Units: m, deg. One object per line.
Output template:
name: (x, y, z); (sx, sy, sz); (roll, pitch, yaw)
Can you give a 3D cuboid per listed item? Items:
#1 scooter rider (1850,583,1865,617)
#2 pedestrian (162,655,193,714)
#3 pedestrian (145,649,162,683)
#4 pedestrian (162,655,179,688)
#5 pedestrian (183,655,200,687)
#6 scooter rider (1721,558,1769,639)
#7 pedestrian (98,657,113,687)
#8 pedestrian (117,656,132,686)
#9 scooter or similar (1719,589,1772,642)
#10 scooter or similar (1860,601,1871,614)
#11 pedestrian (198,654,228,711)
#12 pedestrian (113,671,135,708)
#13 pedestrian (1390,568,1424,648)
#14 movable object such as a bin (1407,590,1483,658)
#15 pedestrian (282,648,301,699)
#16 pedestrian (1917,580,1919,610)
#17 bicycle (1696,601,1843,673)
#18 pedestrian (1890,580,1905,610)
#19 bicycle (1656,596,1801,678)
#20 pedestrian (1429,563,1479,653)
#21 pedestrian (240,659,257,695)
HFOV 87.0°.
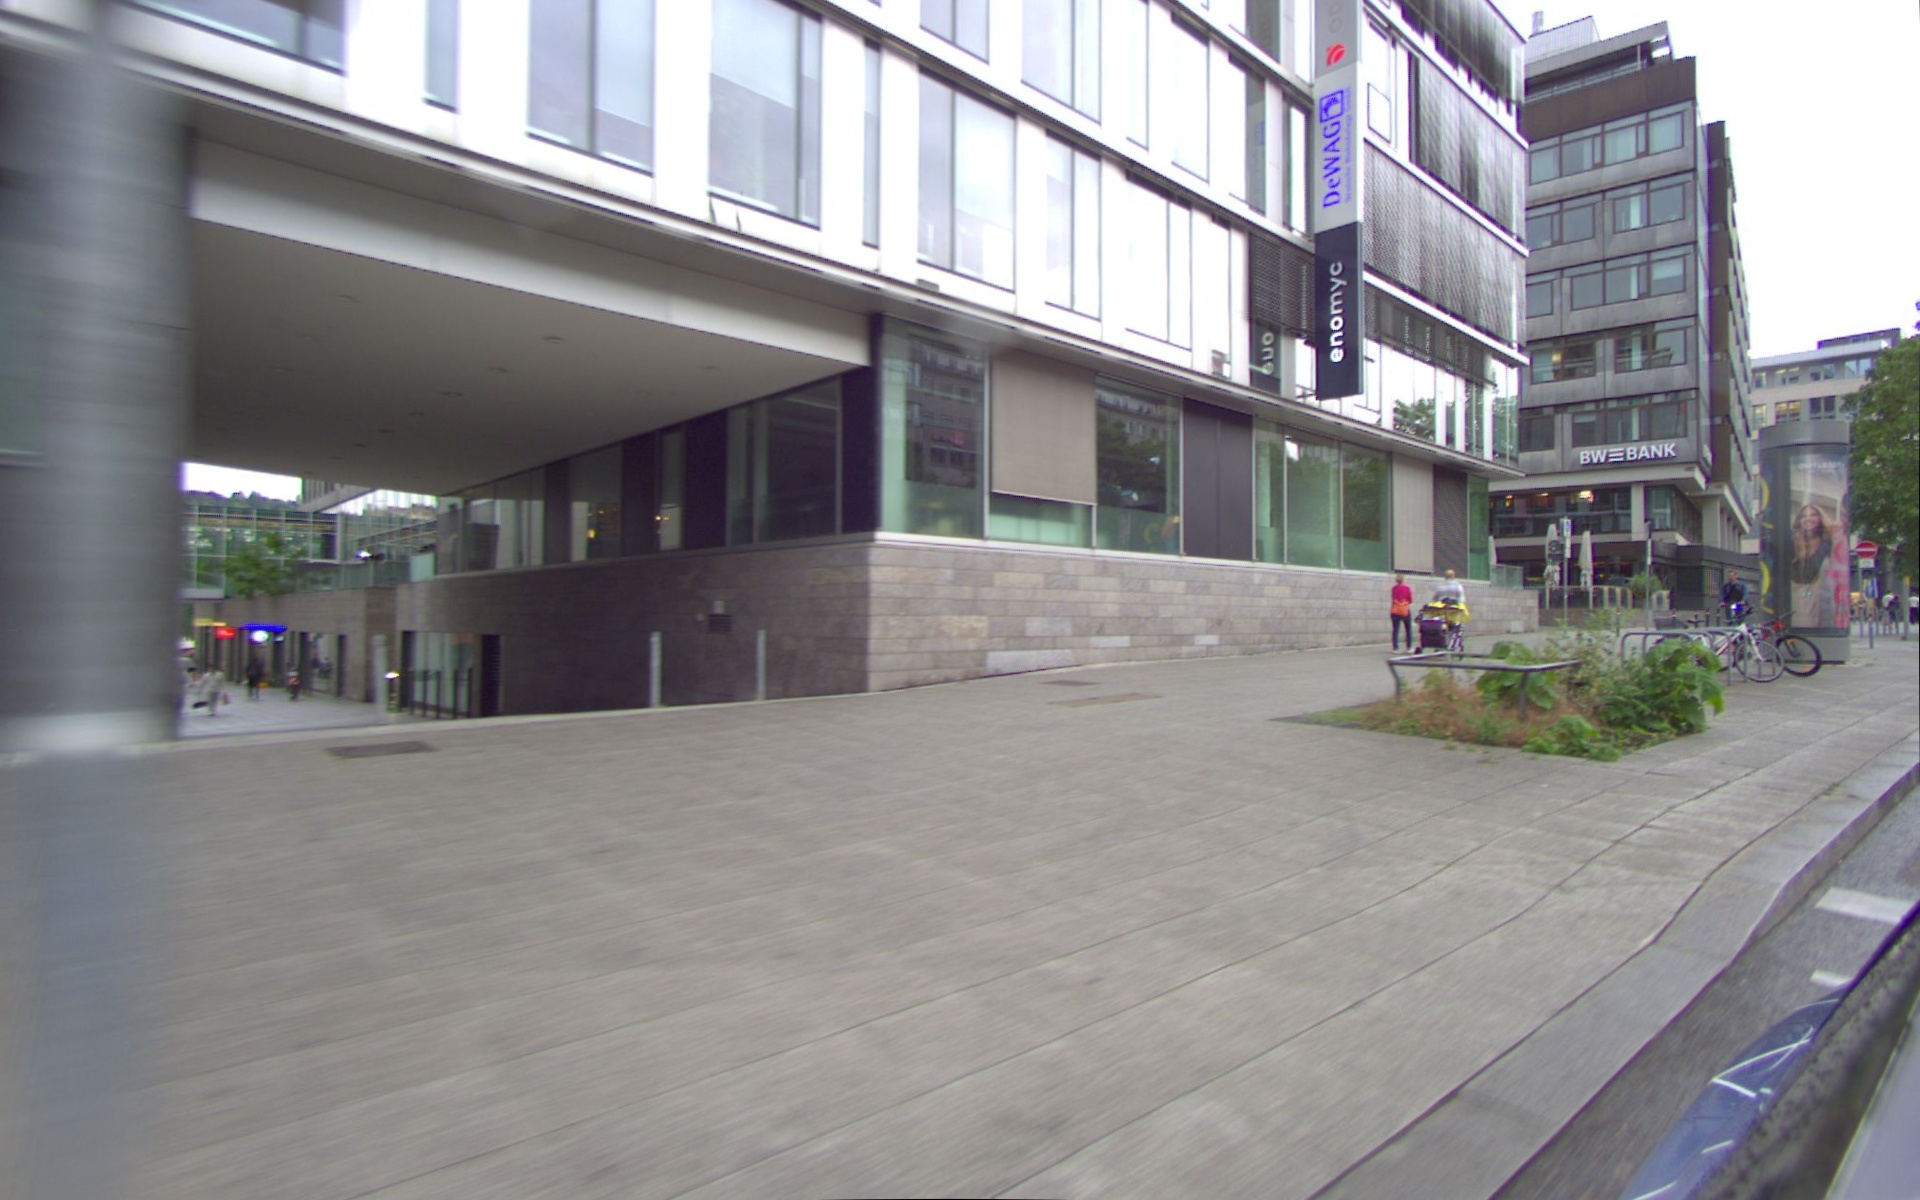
scooter rider: (54.621, 0.022, 61.574); (0.840, 2.051, 0.626); (0, 0, -44)
pedestrian: (-24.922, 2.677, 32.235); (0.590, 1.799, 0.690); (-4, -3, 44)
pedestrian: (-45.591, 3.727, 57.237); (0.590, 1.848, 0.690); (-4, -3, 44)
pedestrian: (-45.023, 4.063, 57.744); (0.590, 1.848, 0.690); (-4, -3, 44)
pedestrian: (-44.402, 4.089, 58.461); (0.590, 1.799, 0.690); (-4, -3, 44)
scooter rider: (20.183, -0.042, 26.015); (0.907, 2.046, 0.780); (0, 0, -38)
pedestrian: (-52.902, 4.457, 62.652); (0.590, 1.799, 0.690); (-4, -3, 44)
pedestrian: (-52.247, 4.442, 63.300); (0.590, 1.799, 0.690); (-4, -3, 44)
scooter or similar: (20.185, 0.379, 26.008); (1.310, 1.322, 0.780); (0, 0, -38)
scooter or similar: (54.956, 0.470, 61.434); (1.255, 0.782, 0.408); (0, 0, -44)
pedestrian: (-24.286, 2.666, 32.910); (0.590, 1.799, 0.690); (-4, -3, 44)
pedestrian: (-29.473, 3.161, 35.684); (0.461, 1.260, 0.557); (-4, -3, 44)
pedestrian: (9.765, 0.159, 22.128); (0.569, 1.720, 0.484); (0, 1, -43)
movable object such as a bin: (9.699, 0.455, 20.211); (1.758, 1.281, 0.803); (-1, 1, -44)
pedestrian: (-26.186, 2.868, 39.620); (0.556, 1.940, 0.661); (0, -2, -38)
pedestrian: (54.629, -0.278, 57.409); (0.488, 1.723, 0.451); (-1, 0, -40)
bicycle: (13.814, 0.598, 17.318); (0.658, 1.124, 1.874); (0, 1, -40)
pedestrian: (54.061, -0.286, 58.362); (0.537, 1.723, 0.551); (-1, 0, -40)
bicycle: (12.314, 0.553, 16.251); (1.791, 1.222, 0.659); (1, 1, 43)
pedestrian: (10.398, 0.154, 21.314); (0.734, 1.853, 0.722); (0, 1, -43)
pedestrian: (-28.844, 3.109, 41.034); (0.556, 1.435, 0.462); (0, -2, -38)
